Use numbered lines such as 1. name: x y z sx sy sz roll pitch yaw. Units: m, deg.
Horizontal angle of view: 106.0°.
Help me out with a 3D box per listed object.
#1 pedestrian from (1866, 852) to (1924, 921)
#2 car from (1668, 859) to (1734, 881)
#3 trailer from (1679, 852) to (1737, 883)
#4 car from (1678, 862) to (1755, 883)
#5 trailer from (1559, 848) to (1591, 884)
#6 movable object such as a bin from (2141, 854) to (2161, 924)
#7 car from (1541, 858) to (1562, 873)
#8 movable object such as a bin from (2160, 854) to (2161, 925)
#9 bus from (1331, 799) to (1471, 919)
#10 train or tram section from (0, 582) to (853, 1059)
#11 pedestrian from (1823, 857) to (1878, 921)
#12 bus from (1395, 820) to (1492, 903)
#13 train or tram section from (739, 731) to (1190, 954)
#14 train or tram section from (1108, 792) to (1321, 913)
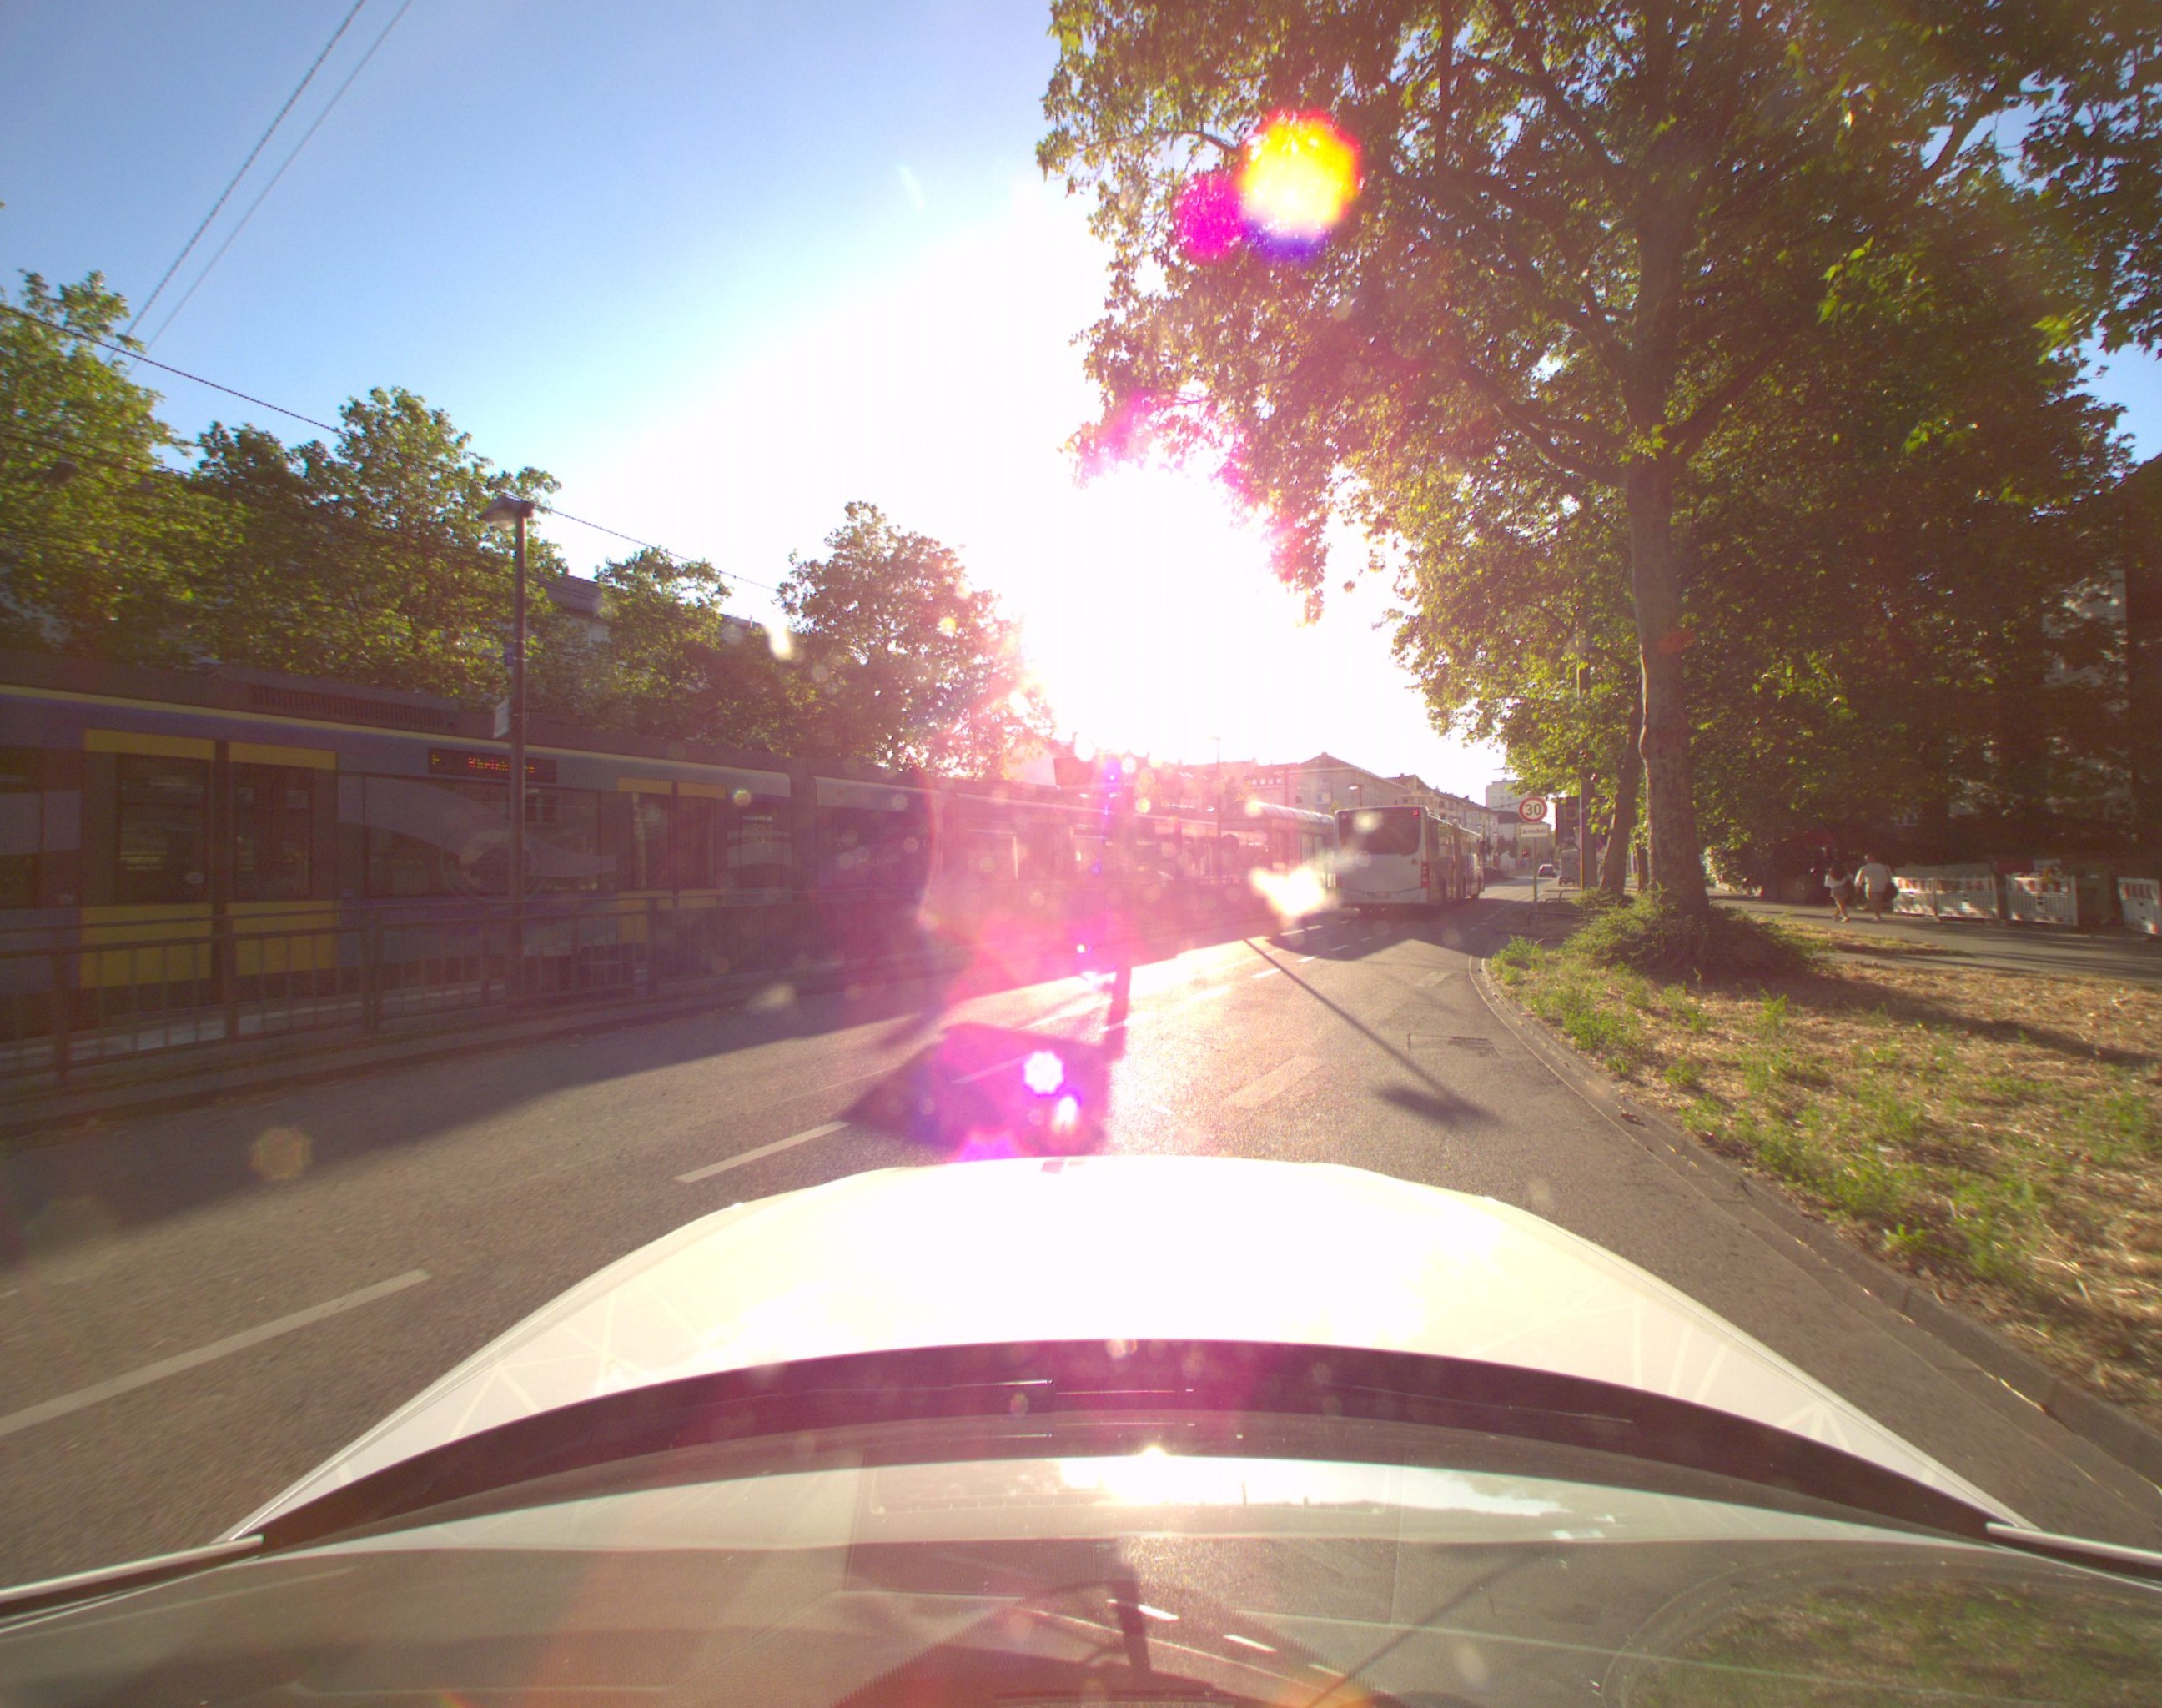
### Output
1. pedestrian: 20.108 0.782 20.137 0.782 1.667 0.821 -1 -1 28
2. car: 48.031 1.225 63.193 3.882 1.637 1.717 -2 -2 33
3. trailer: 43.692 0.948 56.846 3.034 2.070 1.890 -1 -1 34
4. car: 42.409 1.222 54.450 3.882 1.336 1.717 -2 -2 34
5. trailer: 35.590 0.870 58.615 1.815 2.558 3.339 -2 -2 33
6. movable object such as a bin: 22.743 0.720 16.602 0.843 1.434 1.285 0 -1 -31
7. car: 57.973 1.368 100.261 1.974 1.816 4.025 -1 -1 33
8. movable object such as a bin: 22.060 0.715 15.823 0.844 1.434 1.284 0 -1 -38
9. bus: 10.801 0.191 26.612 2.707 3.139 10.769 -1 -1 29
10. train or tram section: -8.428 -0.214 7.976 2.822 3.533 13.480 -1 -1 33
11. pedestrian: 19.385 0.875 20.532 0.782 1.572 0.821 -1 -1 28
12. bus: 15.807 0.336 35.093 2.682 3.107 9.035 -1 -1 31
13. train or tram section: -1.434 -0.095 19.084 2.702 3.549 12.865 -1 -1 33
14. train or tram section: 5.579 0.044 30.131 2.615 3.519 13.417 -1 -1 33
